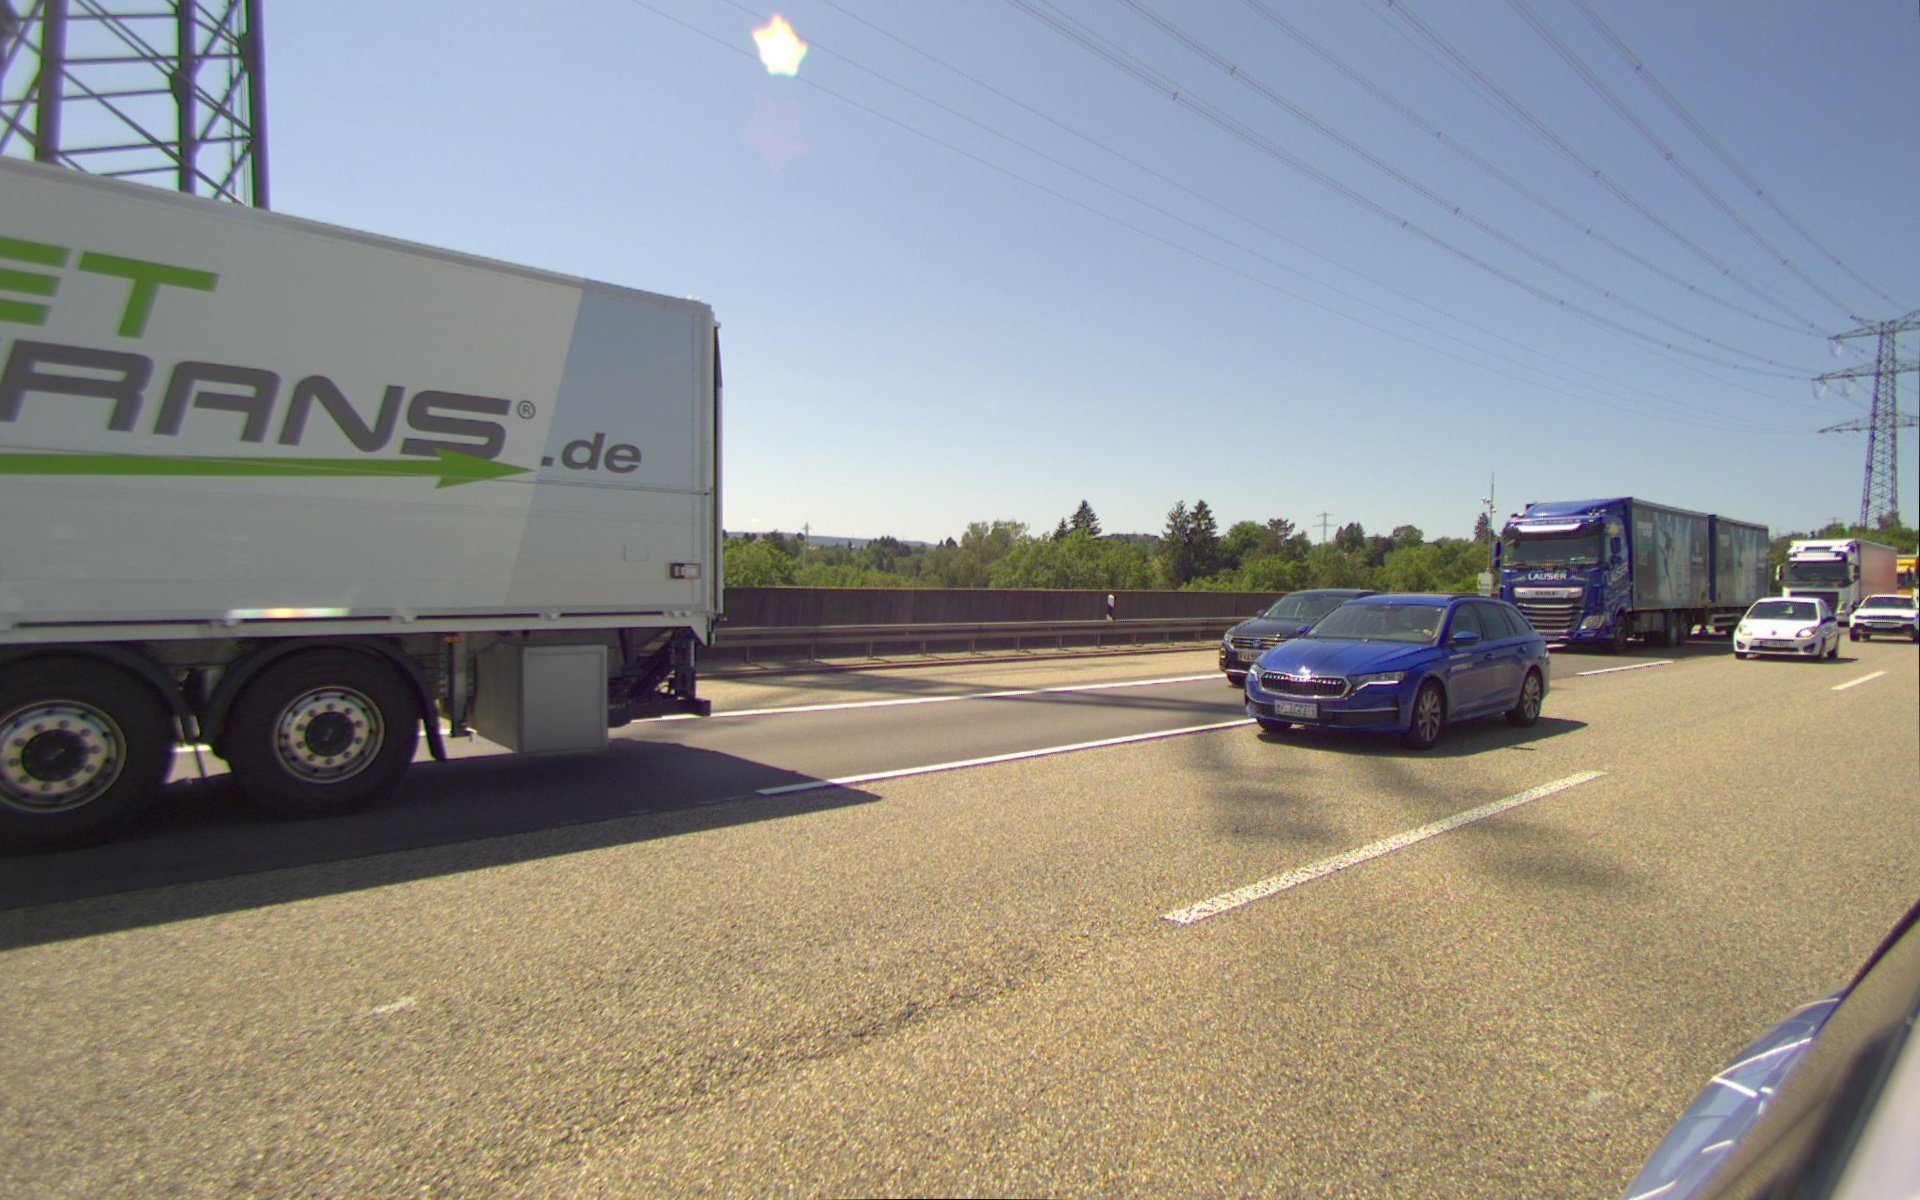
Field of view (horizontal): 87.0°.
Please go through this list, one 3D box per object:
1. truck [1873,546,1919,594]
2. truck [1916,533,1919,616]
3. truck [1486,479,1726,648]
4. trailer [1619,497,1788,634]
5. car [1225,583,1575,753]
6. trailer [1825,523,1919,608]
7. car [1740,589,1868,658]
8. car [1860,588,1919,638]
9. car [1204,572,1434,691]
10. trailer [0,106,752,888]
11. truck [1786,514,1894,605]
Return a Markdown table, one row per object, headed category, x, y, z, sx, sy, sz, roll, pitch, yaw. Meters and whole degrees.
| category | x | y | z | sx | sy | sz | roll | pitch | yaw |
| --- | --- | --- | --- | --- | --- | --- | --- | --- | --- |
| truck | 63.956 | -2.042 | 68.699 | 6.139 | 3.018 | 2.249 | -1 | 5 | -43 |
| truck | 48.943 | -1.243 | 49.027 | 8.118 | 3.874 | 2.848 | -1 | 1 | -40 |
| truck | 18.393 | -0.951 | 28.383 | 10.212 | 3.999 | 2.857 | -1 | 1 | -41 |
| trailer | 25.469 | -1.121 | 34.471 | 8.487 | 4.140 | 2.833 | -1 | 1 | -41 |
| car | 4.911 | 0.562 | 10.972 | 4.483 | 1.470 | 1.711 | -1 | 1 | -41 |
| trailer | 48.613 | -1.777 | 53.729 | 8.923 | 4.169 | 2.607 | -1 | 1 | -39 |
| car | 20.225 | 0.502 | 24.195 | 4.072 | 1.470 | 1.711 | -1 | 1 | -41 |
| car | 30.797 | 0.381 | 32.964 | 4.072 | 1.528 | 1.711 | -1 | 1 | -41 |
| car | 5.838 | 0.412 | 16.244 | 4.046 | 1.675 | 1.711 | -1 | 1 | -41 |
| trailer | -5.603 | -0.534 | 6.361 | 8.073 | 3.940 | 2.903 | -1 | 1 | -42 |
| truck | 42.030 | -1.862 | 48.236 | 8.118 | 4.037 | 2.607 | -1 | 1 | -40 |
